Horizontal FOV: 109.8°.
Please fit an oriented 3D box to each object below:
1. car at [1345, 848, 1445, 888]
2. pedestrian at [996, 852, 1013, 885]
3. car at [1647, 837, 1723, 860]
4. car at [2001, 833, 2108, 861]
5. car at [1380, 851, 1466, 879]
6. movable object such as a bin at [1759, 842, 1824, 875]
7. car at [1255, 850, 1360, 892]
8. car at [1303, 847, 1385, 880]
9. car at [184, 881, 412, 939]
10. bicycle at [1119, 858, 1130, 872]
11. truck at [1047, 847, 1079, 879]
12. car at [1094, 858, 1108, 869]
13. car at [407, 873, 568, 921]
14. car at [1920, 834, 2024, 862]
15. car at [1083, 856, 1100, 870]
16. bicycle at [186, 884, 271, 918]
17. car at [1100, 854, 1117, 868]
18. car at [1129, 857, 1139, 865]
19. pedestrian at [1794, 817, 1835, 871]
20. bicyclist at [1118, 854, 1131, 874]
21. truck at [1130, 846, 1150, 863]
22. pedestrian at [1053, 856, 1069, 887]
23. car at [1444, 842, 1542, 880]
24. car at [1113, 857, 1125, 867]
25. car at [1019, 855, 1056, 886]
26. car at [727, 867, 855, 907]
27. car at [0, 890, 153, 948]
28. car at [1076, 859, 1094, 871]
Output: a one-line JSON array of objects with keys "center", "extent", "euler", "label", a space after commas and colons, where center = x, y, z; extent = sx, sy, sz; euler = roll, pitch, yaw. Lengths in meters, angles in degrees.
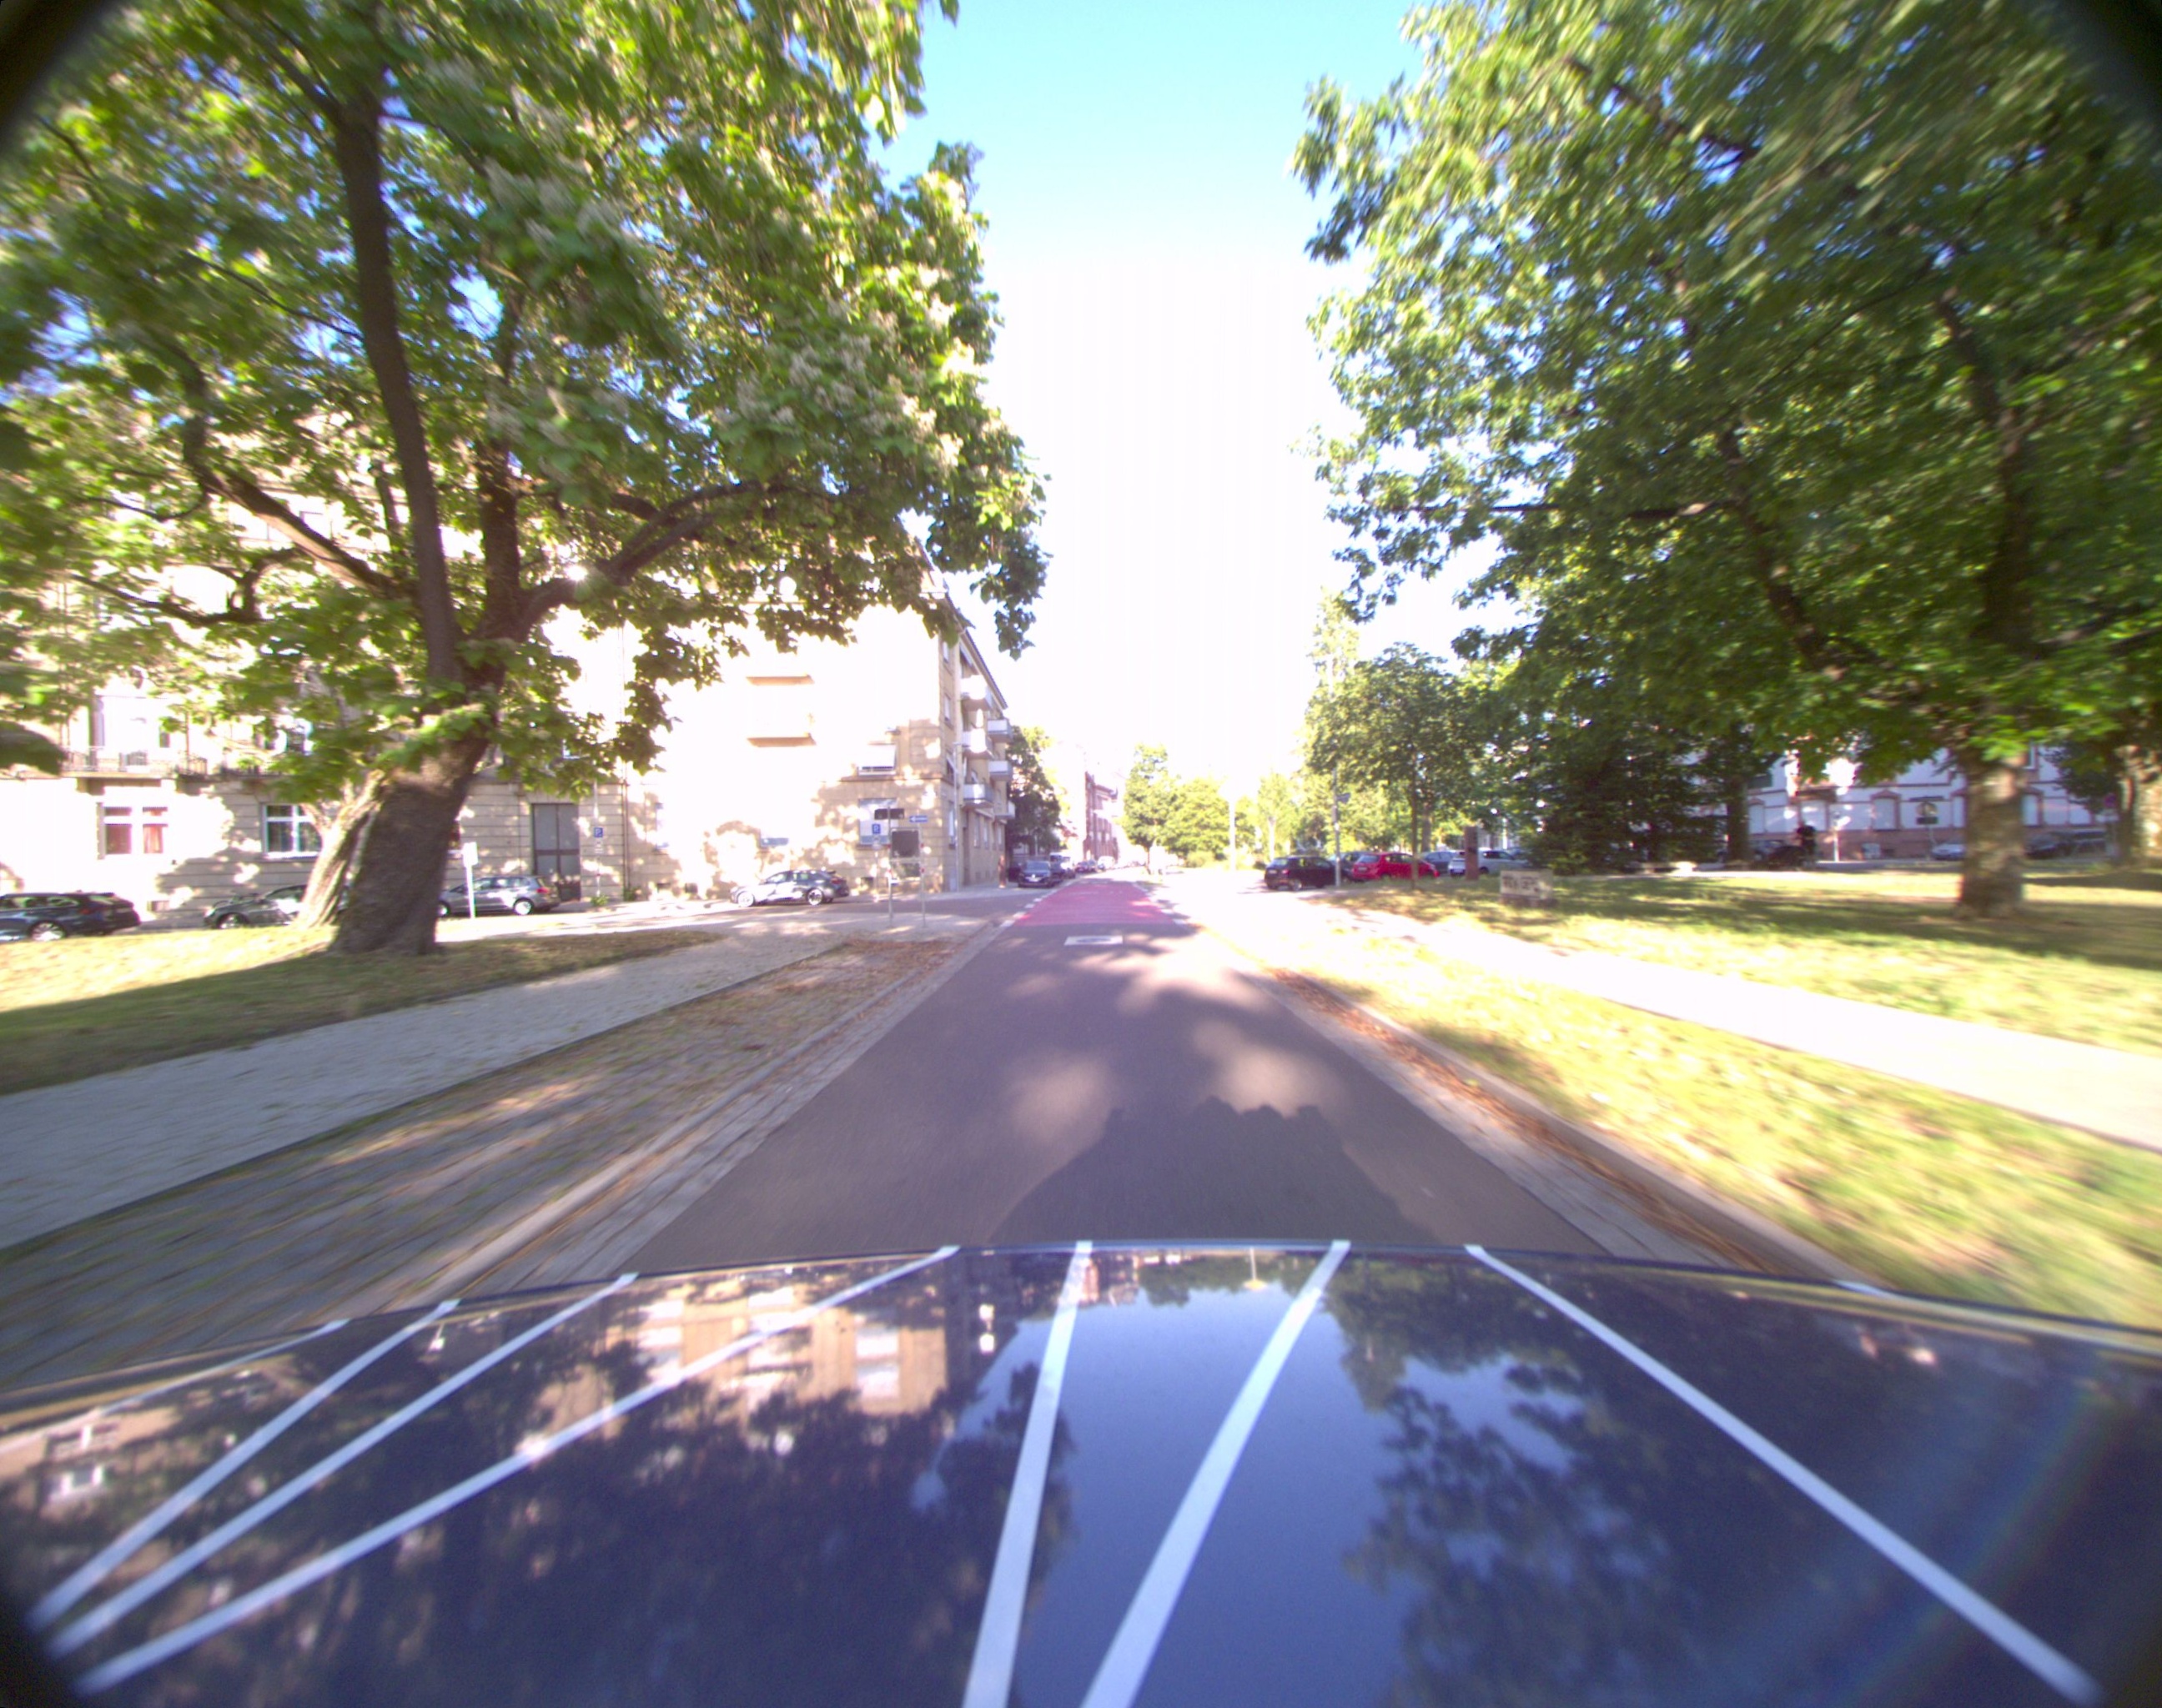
[{"center": [14.060, 0.604, 34.004], "extent": [4.004, 1.565, 1.887], "euler": [-2, 2, -24], "label": "car"}, {"center": [-4.375, 0.832, 43.424], "extent": [0.733, 1.819, 0.555], "euler": [-2, 0, -35], "label": "pedestrian"}, {"center": [43.840, -0.418, 55.224], "extent": [1.894, 1.565, 3.989], "euler": [-3, 2, -37], "label": "car"}, {"center": [59.094, -0.421, 46.176], "extent": [3.997, 1.565, 1.890], "euler": [-1, 2, 1], "label": "car"}, {"center": [18.984, 0.586, 42.158], "extent": [4.281, 1.392, 1.837], "euler": [-1, 1, -21], "label": "car"}, {"center": [22.721, 0.136, 24.322], "extent": [1.334, 0.984, 0.948], "euler": [-1, 1, -15], "label": "movable object such as a bin"}, {"center": [9.604, 0.666, 32.258], "extent": [4.004, 1.565, 1.887], "euler": [-2, 2, -24], "label": "car"}, {"center": [13.902, 0.494, 40.207], "extent": [3.851, 1.622, 1.836], "euler": [-1, 1, -23], "label": "car"}, {"center": [-23.296, 1.624, 22.834], "extent": [4.370, 1.409, 1.842], "euler": [-1, 1, -19], "label": "car"}, {"center": [3.758, 0.924, 65.436], "extent": [0.739, 1.129, 2.106], "euler": [-2, 0, 7], "label": "bicycle"}, {"center": [-1.432, 0.708, 64.627], "extent": [2.133, 2.549, 6.878], "euler": [-1, 0, 3], "label": "truck"}, {"center": [2.798, 1.309, 103.772], "extent": [1.509, 1.437, 3.731], "euler": [-1, 0, 7], "label": "car"}, {"center": [-22.600, 1.593, 29.133], "extent": [4.456, 1.590, 1.800], "euler": [-1, 1, -17], "label": "car"}, {"center": [53.848, -0.402, 45.969], "extent": [3.997, 1.565, 1.890], "euler": [-1, 2, 1], "label": "car"}, {"center": [1.318, 1.070, 93.485], "extent": [1.610, 1.608, 3.952], "euler": [-1, 0, 7], "label": "car"}, {"center": [-33.381, 1.828, 29.782], "extent": [2.126, 1.223, 0.613], "euler": [-1, 1, -23], "label": "bicycle"}, {"center": [4.269, 1.079, 116.185], "extent": [2.118, 1.942, 4.763], "euler": [-1, 0, 8], "label": "car"}, {"center": [9.918, 1.258, 142.947], "extent": [1.582, 1.499, 3.849], "euler": [-1, 0, 8], "label": "car"}, {"center": [23.688, -0.310, 24.551], "extent": [0.664, 1.686, 0.671], "euler": [-2, 0, -14], "label": "pedestrian"}, {"center": [3.753, 0.849, 65.448], "extent": [0.939, 1.693, 0.906], "euler": [-2, 0, 7], "label": "bicyclist"}, {"center": [11.910, 0.076, 152.452], "extent": [3.017, 3.422, 7.630], "euler": [-1, 0, 13], "label": "truck"}, {"center": [-1.154, 1.004, 43.595], "extent": [0.778, 1.759, 0.955], "euler": [-2, 0, 2], "label": "pedestrian"}, {"center": [19.383, 0.297, 35.768], "extent": [4.003, 1.565, 1.887], "euler": [-2, 2, -20], "label": "car"}, {"center": [6.284, 1.271, 125.231], "extent": [1.582, 1.499, 3.849], "euler": [-1, 0, 8], "label": "car"}, {"center": [-2.375, 0.911, 42.579], "extent": [1.707, 1.616, 4.349], "euler": [1, -1, 1], "label": "car"}, {"center": [-11.662, 1.322, 30.798], "extent": [4.452, 1.410, 1.935], "euler": [-1, 0, -4], "label": "car"}, {"center": [-28.975, 1.792, 20.694], "extent": [4.443, 1.409, 1.564], "euler": [-1, 1, -22], "label": "car"}, {"center": [0.454, 1.257, 87.979], "extent": [1.610, 1.349, 3.549], "euler": [-1, 0, 7], "label": "car"}]
